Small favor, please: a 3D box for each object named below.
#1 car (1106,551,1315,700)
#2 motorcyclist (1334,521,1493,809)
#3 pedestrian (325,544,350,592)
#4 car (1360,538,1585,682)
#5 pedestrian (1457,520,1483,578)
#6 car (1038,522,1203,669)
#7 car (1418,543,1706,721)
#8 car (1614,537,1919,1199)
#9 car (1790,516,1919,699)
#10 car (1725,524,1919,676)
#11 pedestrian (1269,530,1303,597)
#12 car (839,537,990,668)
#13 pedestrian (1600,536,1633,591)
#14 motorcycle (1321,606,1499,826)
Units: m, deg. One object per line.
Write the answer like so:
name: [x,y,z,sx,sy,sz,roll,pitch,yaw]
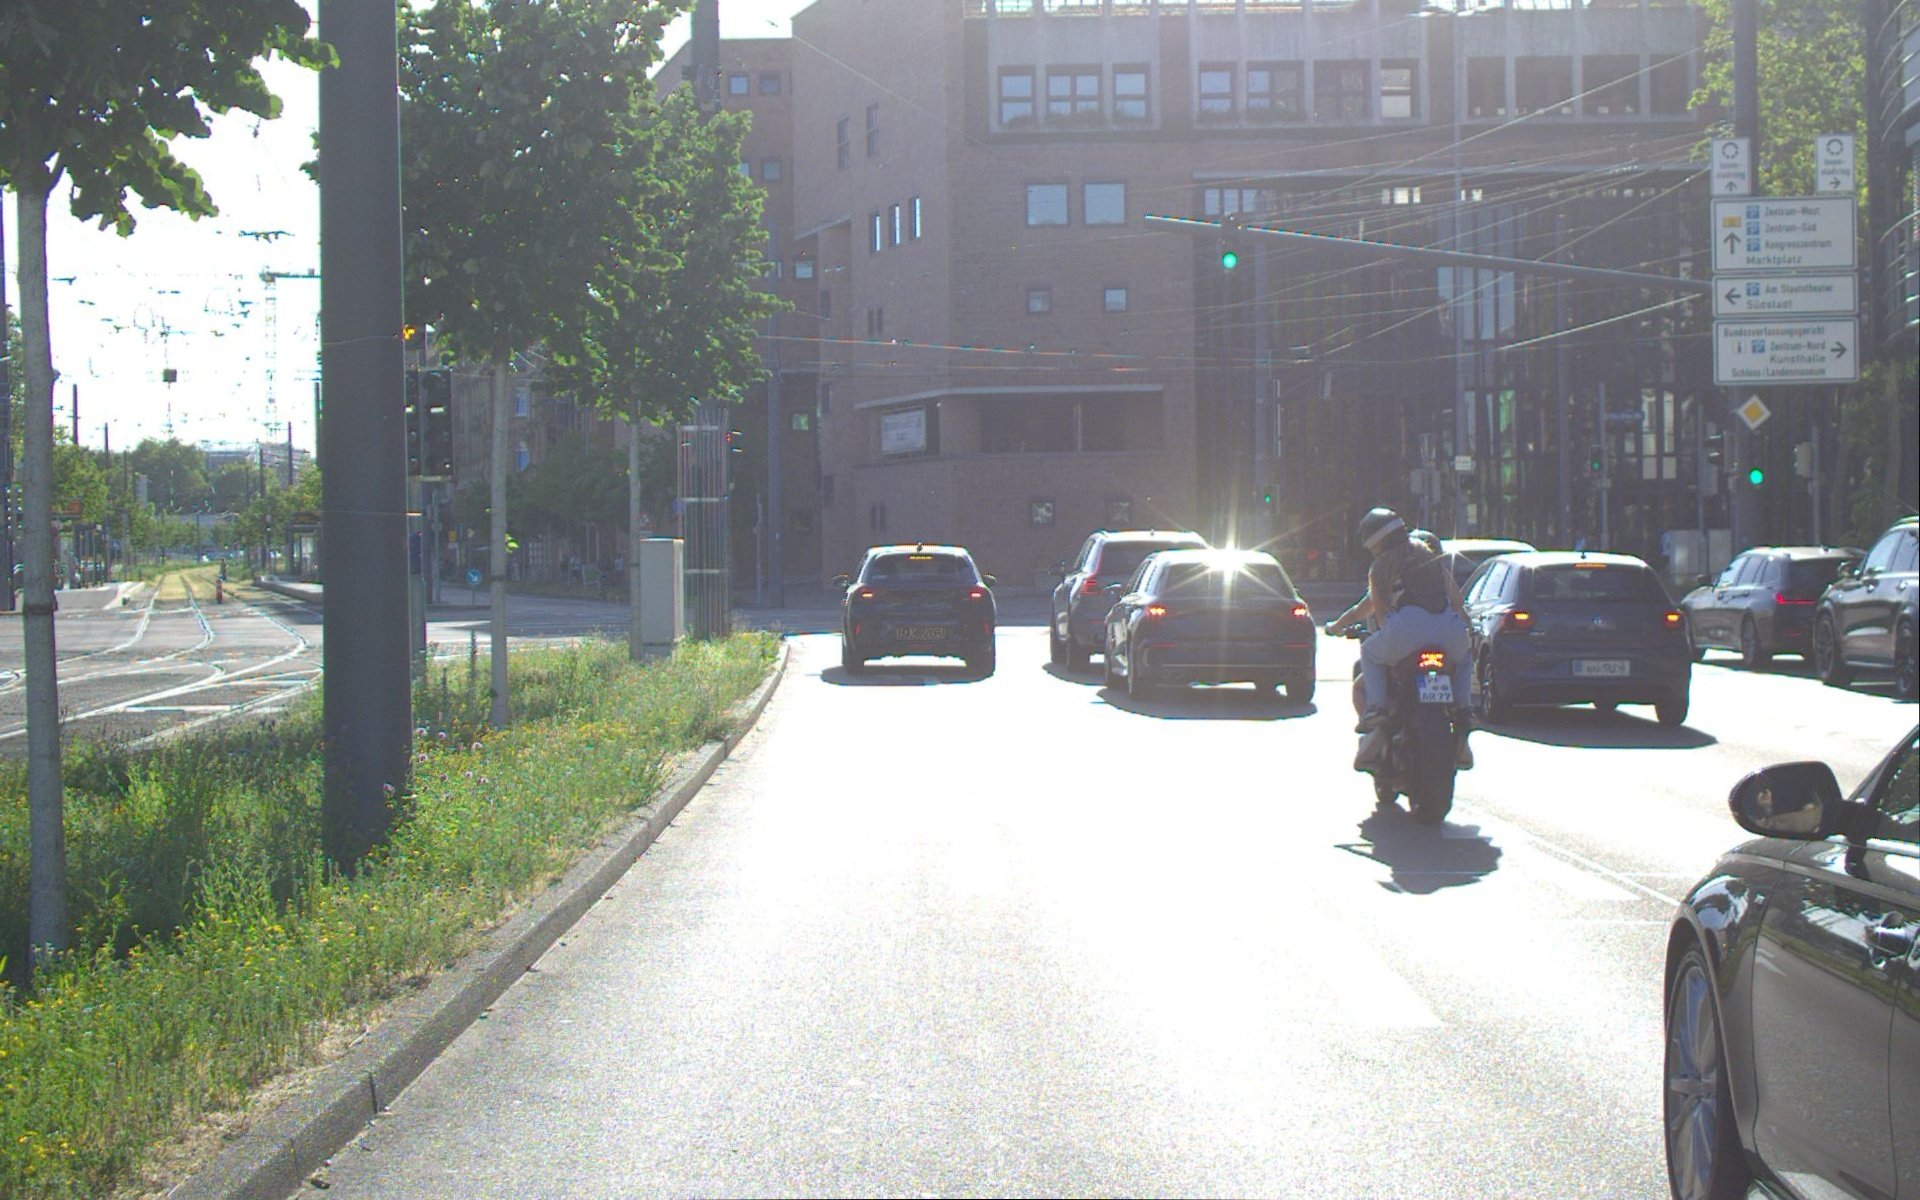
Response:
car: [2.394,0.204,33.688,1.737,1.345,4.000,-1,1,0]
motorcyclist: [2.465,0.337,18.771,0.745,1.525,1.021,-1,1,2]
pedestrian: [-21.160,-1.092,116.876,0.742,1.634,0.768,-1,1,-14]
car: [5.484,0.065,37.224,1.807,1.452,4.000,0,1,0]
pedestrian: [12.703,-1.276,85.572,0.529,1.425,0.598,-1,1,-1]
car: [1.859,-0.085,40.806,1.737,1.645,4.000,-1,1,0]
car: [5.239,0.232,30.399,1.807,1.452,4.000,0,1,0]
car: [2.418,0.664,5.550,1.811,1.487,4.496,1,1,0]
car: [10.049,0.017,34.890,1.993,1.744,4.329,-1,1,-3]
car: [10.146,-0.043,39.526,1.994,1.645,4.000,-1,1,3]
pedestrian: [8.538,-0.963,90.080,0.707,1.753,0.560,0,1,24]
car: [-0.506,-0.005,39.950,1.649,1.428,4.000,-1,1,0]
pedestrian: [19.446,-1.093,101.878,0.900,1.611,0.560,-1,1,7]
motorcycle: [2.480,0.617,19.148,0.775,1.111,1.969,-1,1,2]
